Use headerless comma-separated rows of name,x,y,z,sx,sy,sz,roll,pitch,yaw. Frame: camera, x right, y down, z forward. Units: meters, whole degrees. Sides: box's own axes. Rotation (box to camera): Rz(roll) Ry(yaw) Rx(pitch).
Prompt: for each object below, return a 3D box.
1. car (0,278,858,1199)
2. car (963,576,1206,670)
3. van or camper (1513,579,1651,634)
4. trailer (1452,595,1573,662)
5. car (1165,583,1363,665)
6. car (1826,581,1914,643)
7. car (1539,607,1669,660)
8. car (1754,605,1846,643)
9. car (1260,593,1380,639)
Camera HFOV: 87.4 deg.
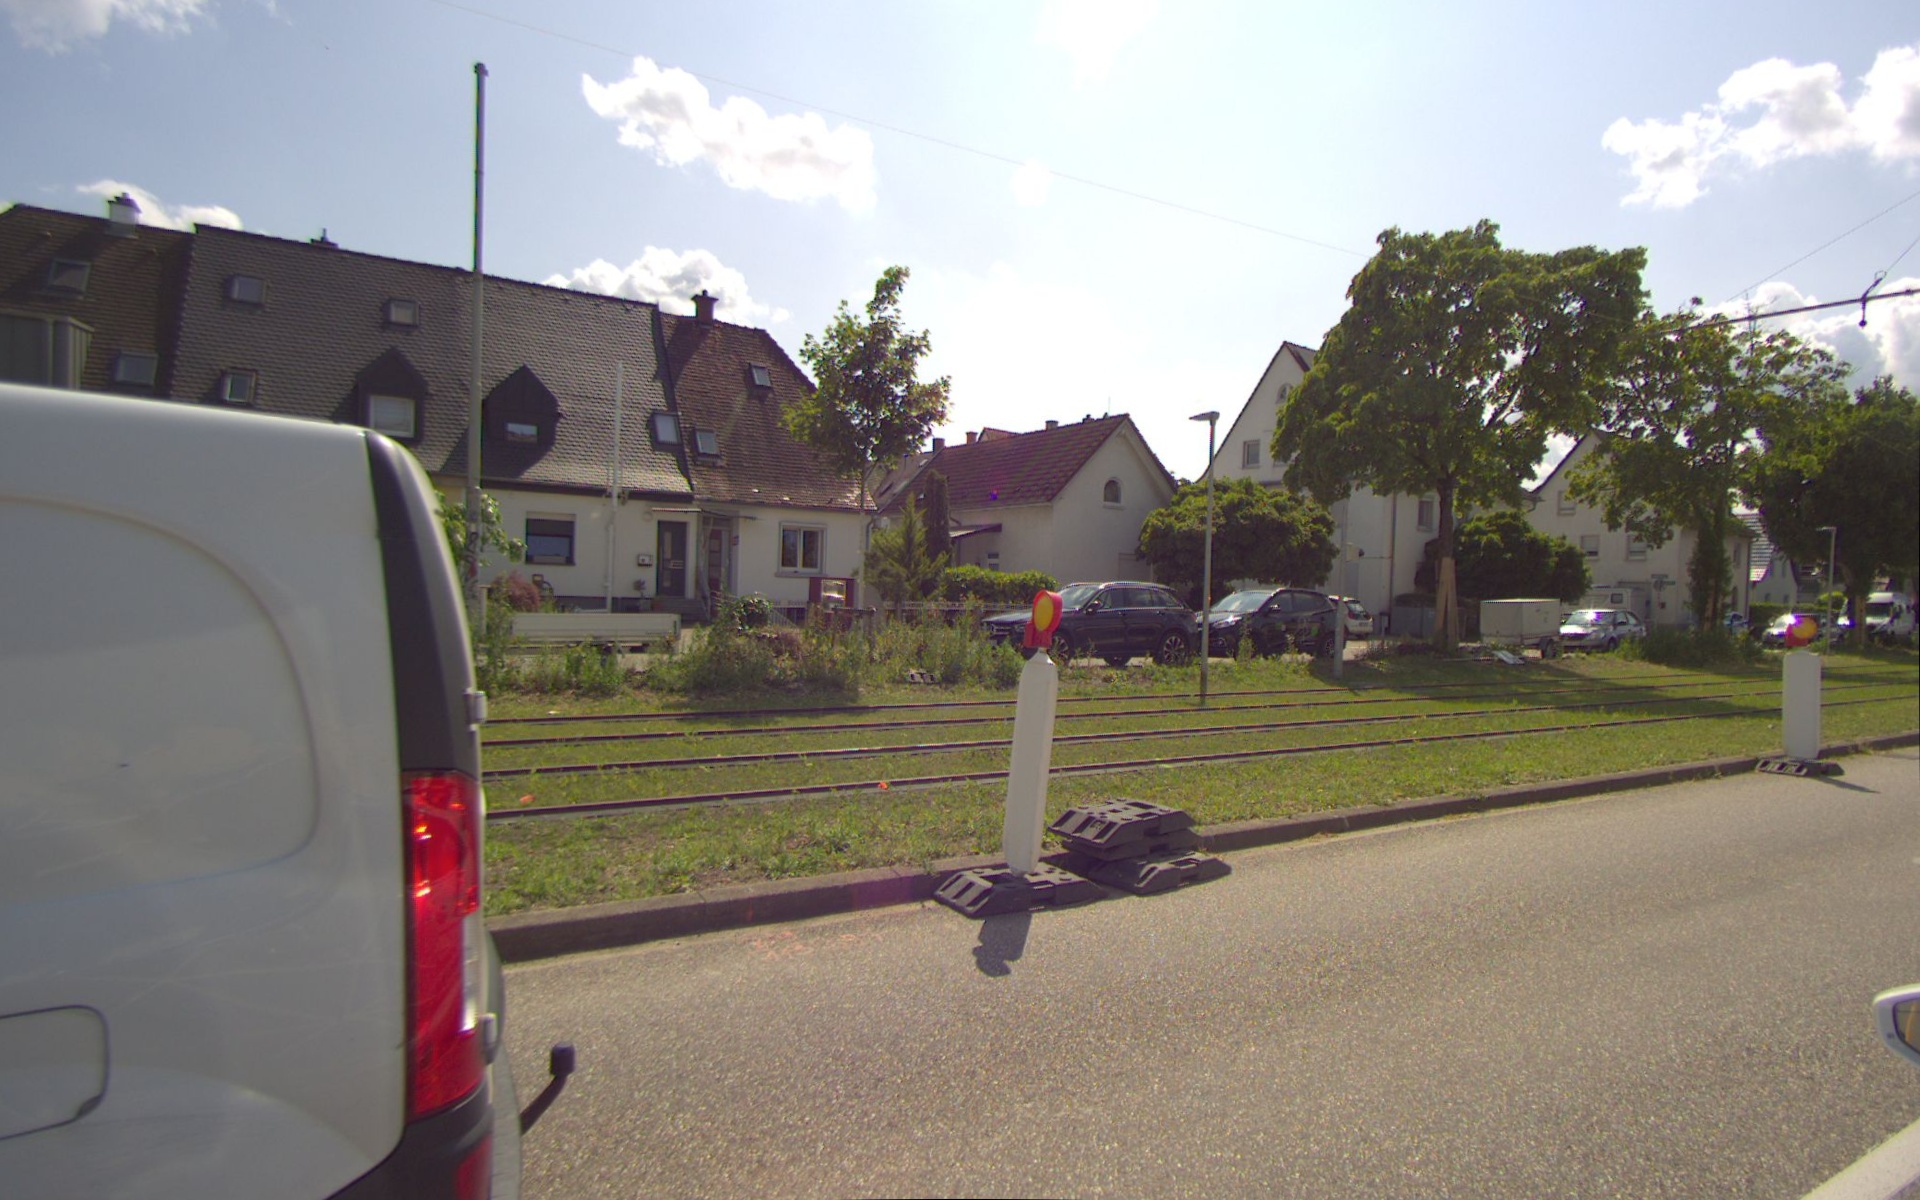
car,-2.433,0.514,1.224,4.260,1.797,1.725,1,1,-32
car,2.425,0.436,19.071,4.519,1.608,1.800,1,-1,-34
van or camper,38.210,0.335,61.964,2.418,3.168,6.837,1,1,-34
trailer,15.189,0.764,27.574,3.338,1.700,1.555,1,1,-34
car,6.780,0.532,22.220,4.517,1.659,1.686,1,-1,-33
car,43.411,0.609,47.861,6.941,2.757,2.058,1,-1,-39
car,19.796,1.003,30.819,4.519,1.525,1.718,1,-1,-34
car,34.903,0.991,41.693,4.519,1.525,1.718,1,-1,-34
car,13.491,0.585,37.810,1.777,1.592,3.959,1,1,-36
